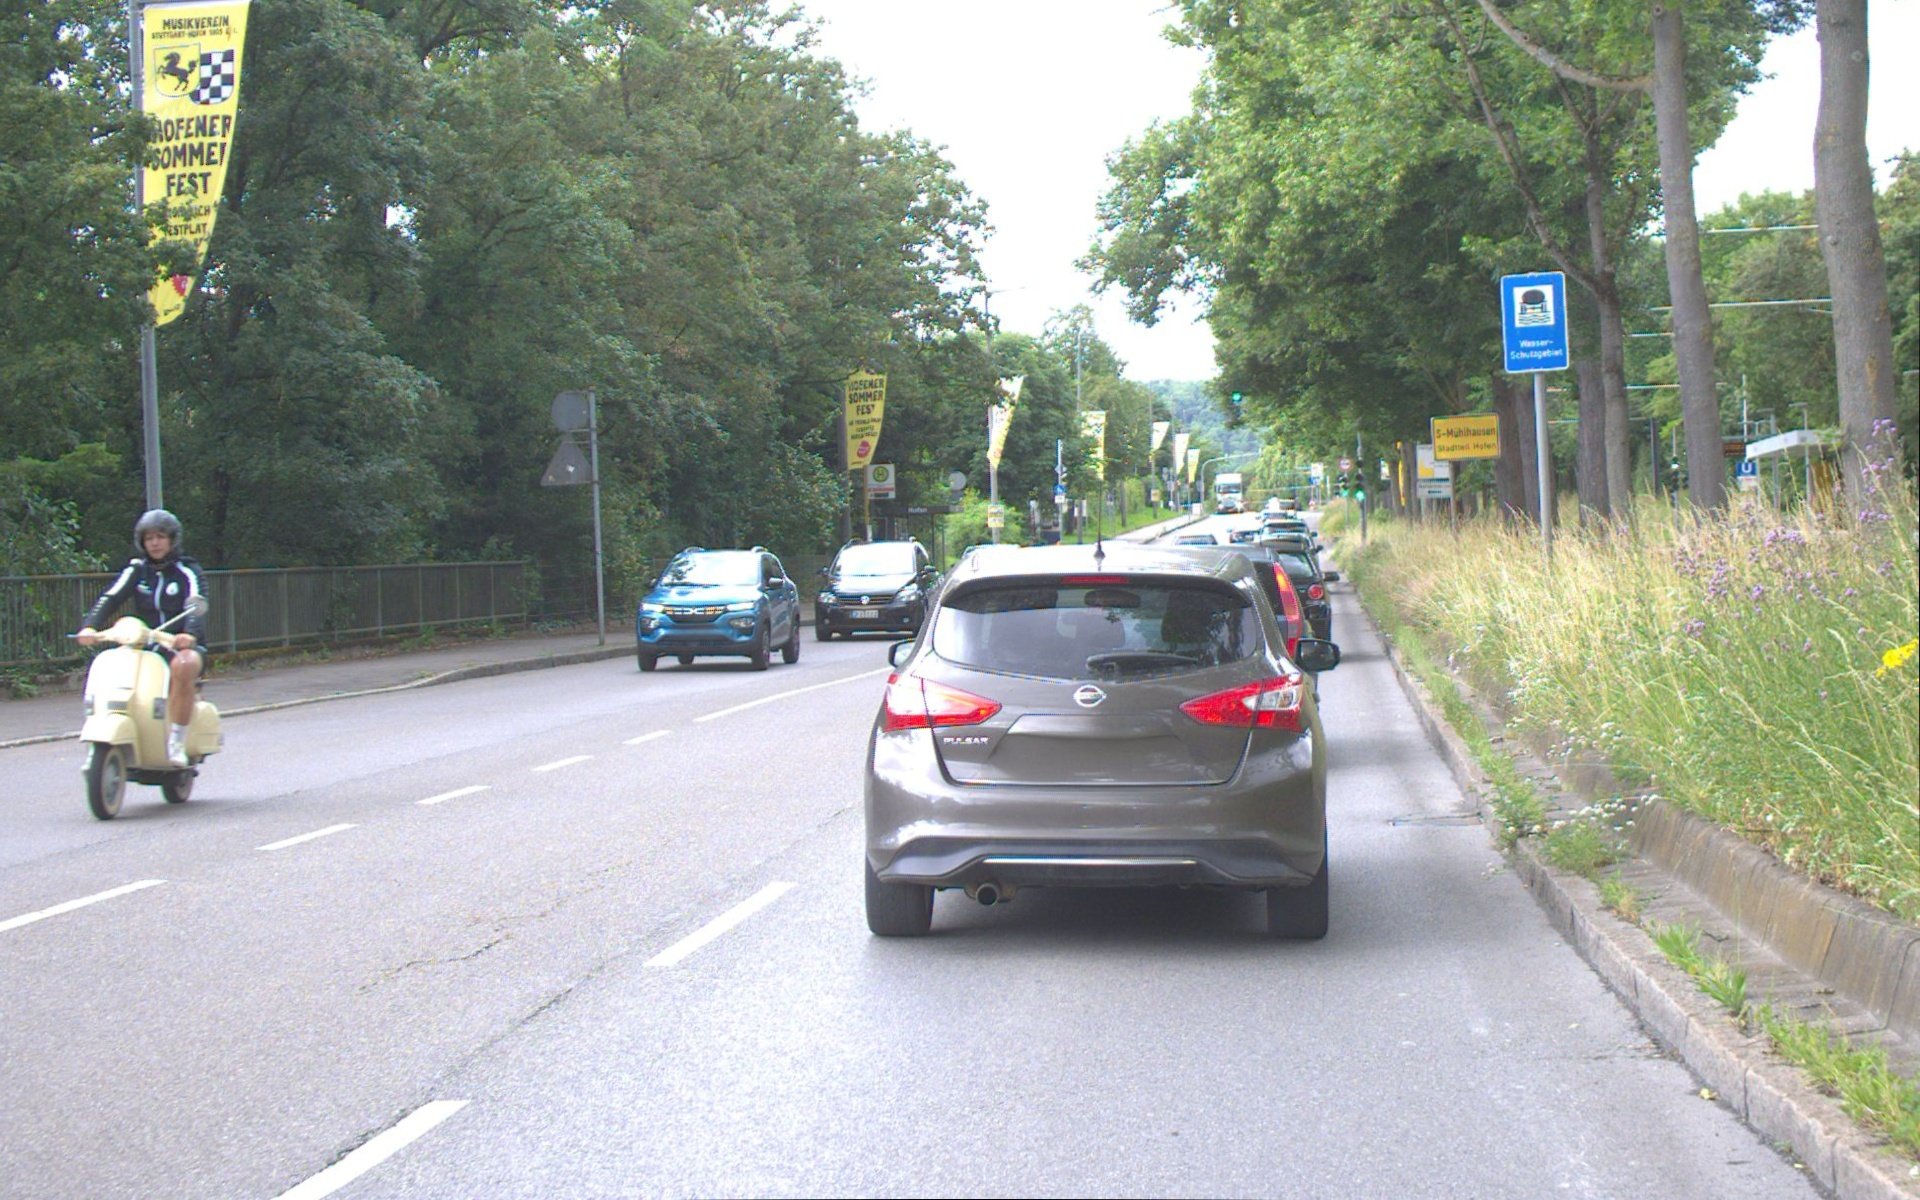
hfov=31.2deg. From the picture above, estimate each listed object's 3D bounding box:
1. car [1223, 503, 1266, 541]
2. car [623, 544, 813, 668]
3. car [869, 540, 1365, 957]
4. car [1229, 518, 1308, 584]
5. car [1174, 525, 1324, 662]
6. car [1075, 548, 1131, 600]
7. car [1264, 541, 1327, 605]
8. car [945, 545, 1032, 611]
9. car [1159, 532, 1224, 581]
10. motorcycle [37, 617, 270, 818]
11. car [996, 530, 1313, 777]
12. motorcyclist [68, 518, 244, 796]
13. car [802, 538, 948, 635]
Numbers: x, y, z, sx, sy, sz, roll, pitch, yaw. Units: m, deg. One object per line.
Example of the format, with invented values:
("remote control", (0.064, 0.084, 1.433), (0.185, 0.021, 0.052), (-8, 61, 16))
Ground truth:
("car", (12.018, -3.288, 145.152), (1.718, 1.396, 3.725), (-2, -1, 5))
("car", (-2.983, 0.104, 43.089), (1.721, 1.437, 3.999), (-2, -1, 5))
("car", (0.568, 0.544, 14.384), (1.774, 1.489, 4.000), (0, 0, 0))
("car", (7.496, -1.170, 83.348), (1.805, 1.535, 3.999), (0, 0, 6))
("car", (3.478, -0.087, 41.894), (1.578, 1.533, 4.000), (-2, 0, 2))
("car", (4.988, -0.896, 119.734), (1.718, 1.687, 3.725), (-2, -1, 5))
("car", (9.644, -0.762, 99.074), (1.718, 1.687, 3.999), (-2, -1, 5))
("car", (0.706, -0.509, 81.971), (1.752, 1.415, 3.999), (-2, -1, 5))
("car", (7.524, -1.394, 111.283), (1.852, 1.481, 4.419), (-1, 0, 7))
("motorcycle", (-4.533, 0.637, 19.458), (0.745, 1.030, 1.888), (-1, 1, 4))
("car", (1.270, 0.352, 24.062), (1.892, 1.569, 4.000), (0, 0, -1))
("motorcyclist", (-4.545, 0.309, 19.463), (0.745, 1.533, 0.791), (-1, 1, 5))
("car", (-1.328, -0.241, 55.179), (1.818, 1.457, 3.999), (-1, 1, 6))
